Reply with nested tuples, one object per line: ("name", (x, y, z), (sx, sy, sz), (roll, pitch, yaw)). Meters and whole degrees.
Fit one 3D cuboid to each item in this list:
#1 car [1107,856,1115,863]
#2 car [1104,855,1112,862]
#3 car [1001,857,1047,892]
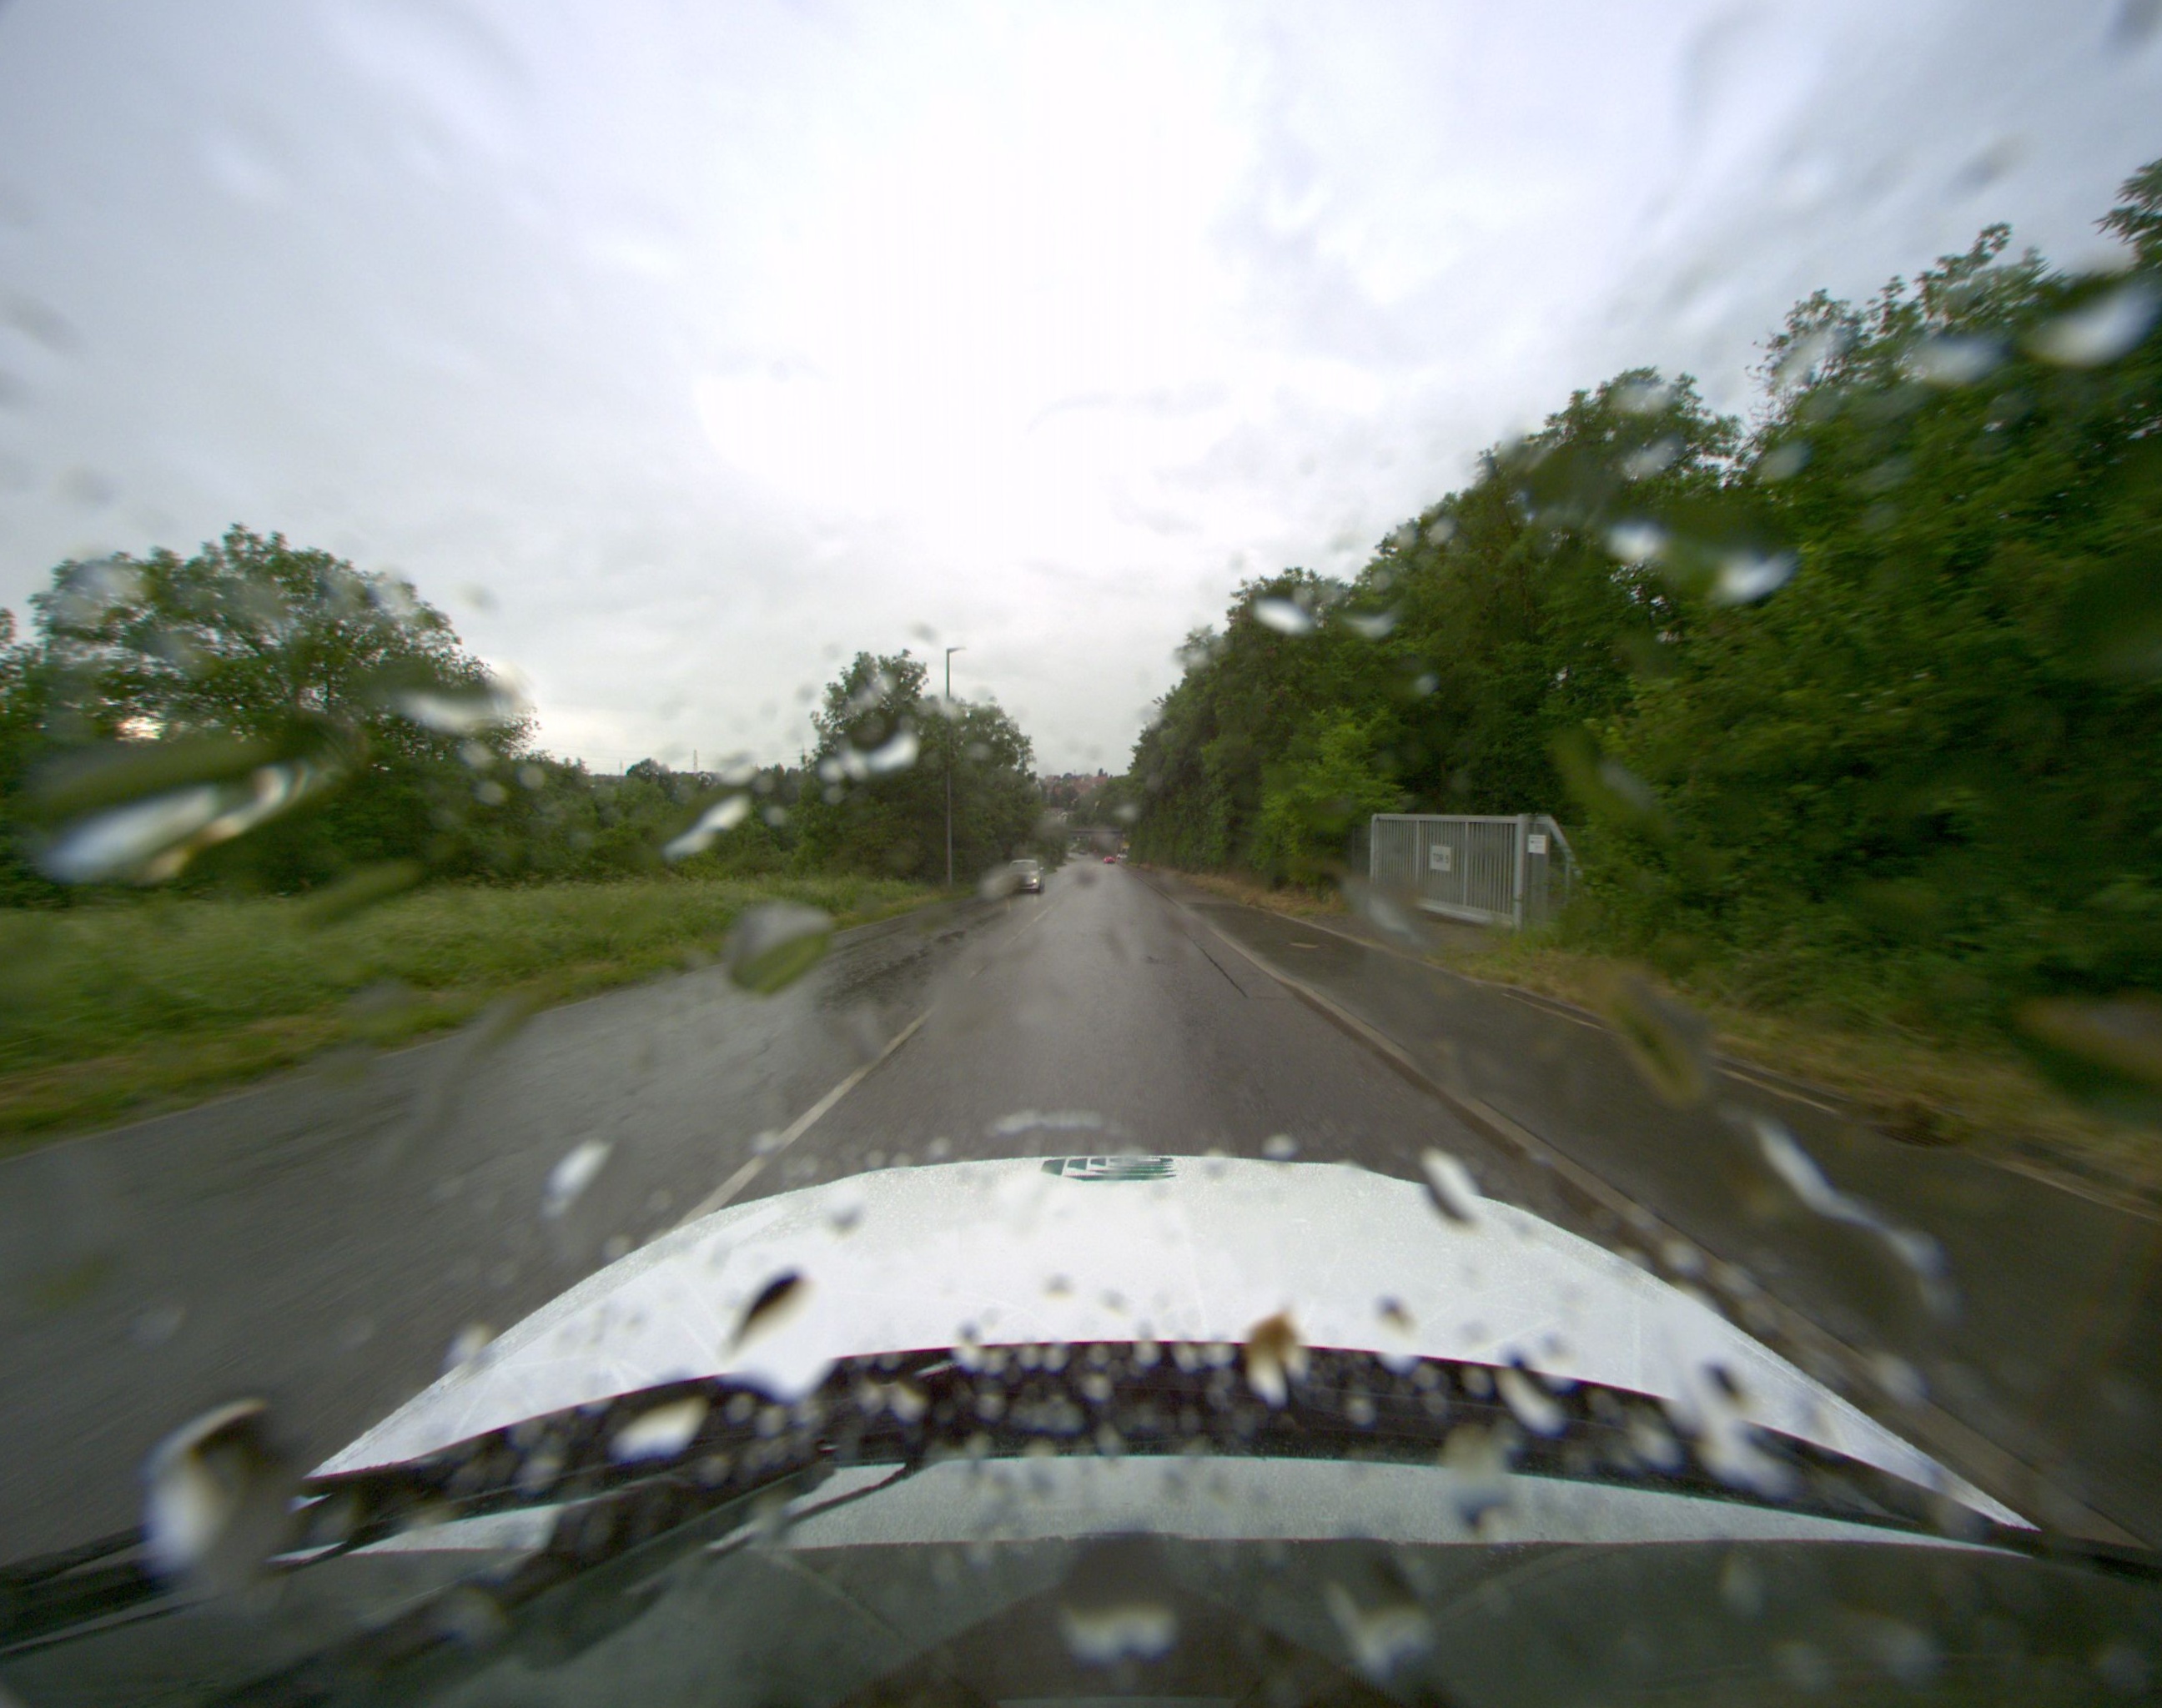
("car", (6.852, 1.239, 184.052), (1.761, 1.380, 4.002), (-2, -1, 2))
("car", (6.407, 1.125, 190.742), (1.761, 1.563, 4.002), (-2, -1, 2))
("car", (-2.555, 0.902, 37.138), (1.632, 1.488, 3.457), (-2, -1, 3))
